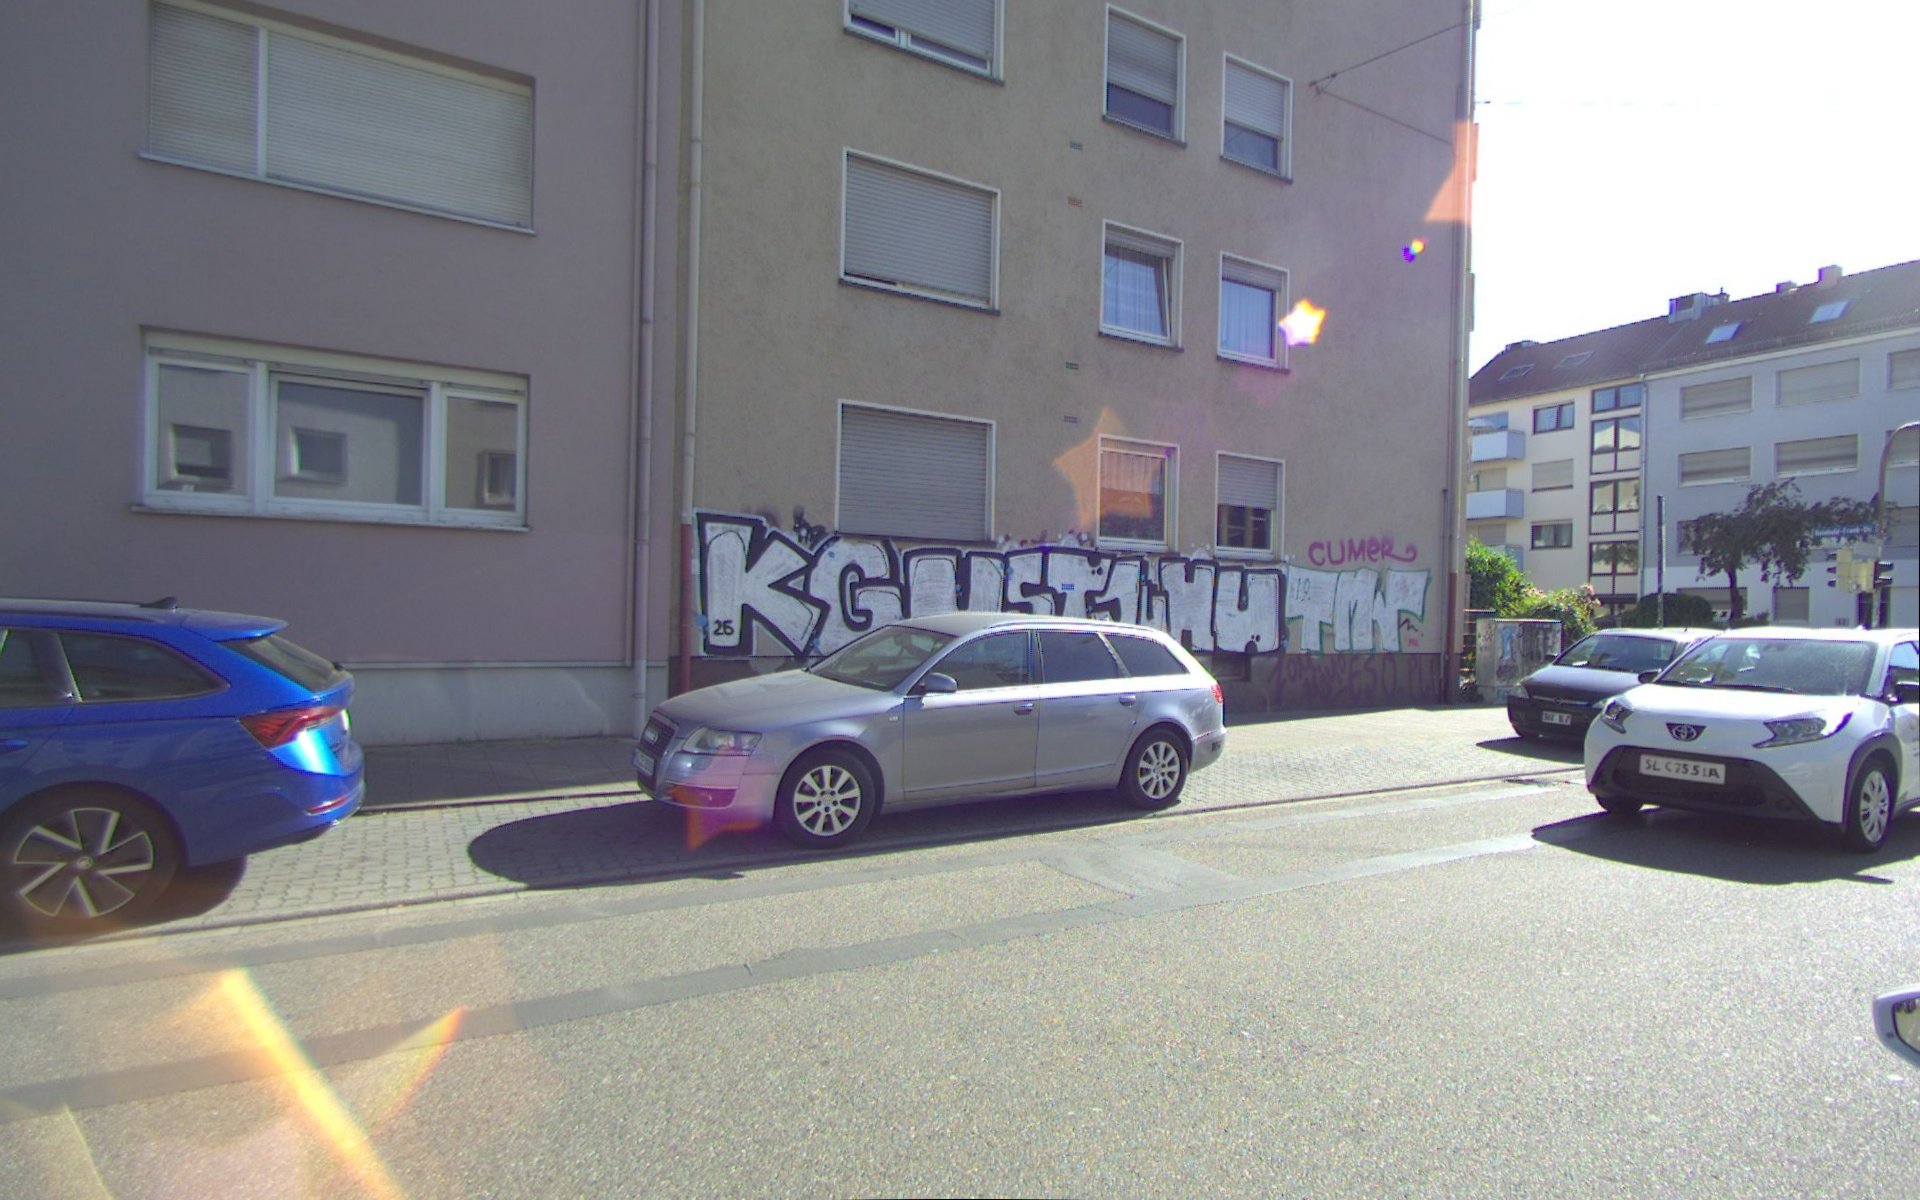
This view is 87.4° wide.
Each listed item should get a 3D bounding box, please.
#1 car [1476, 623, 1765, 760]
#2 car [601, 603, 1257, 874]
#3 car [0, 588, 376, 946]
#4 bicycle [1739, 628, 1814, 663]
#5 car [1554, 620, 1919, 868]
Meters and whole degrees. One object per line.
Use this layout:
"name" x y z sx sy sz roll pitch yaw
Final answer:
"car" 8.478 1.074 12.841 3.667 1.444 1.608 1 2 -31
"car" -0.084 0.840 7.662 4.759 1.485 1.708 1 1 -31
"car" -5.346 0.705 4.618 4.559 1.485 1.708 1 2 -31
"bicycle" 29.643 1.638 36.520 2.068 1.188 0.738 0 -1 37
"car" 6.696 0.962 8.035 3.741 1.557 1.757 1 -1 -30
